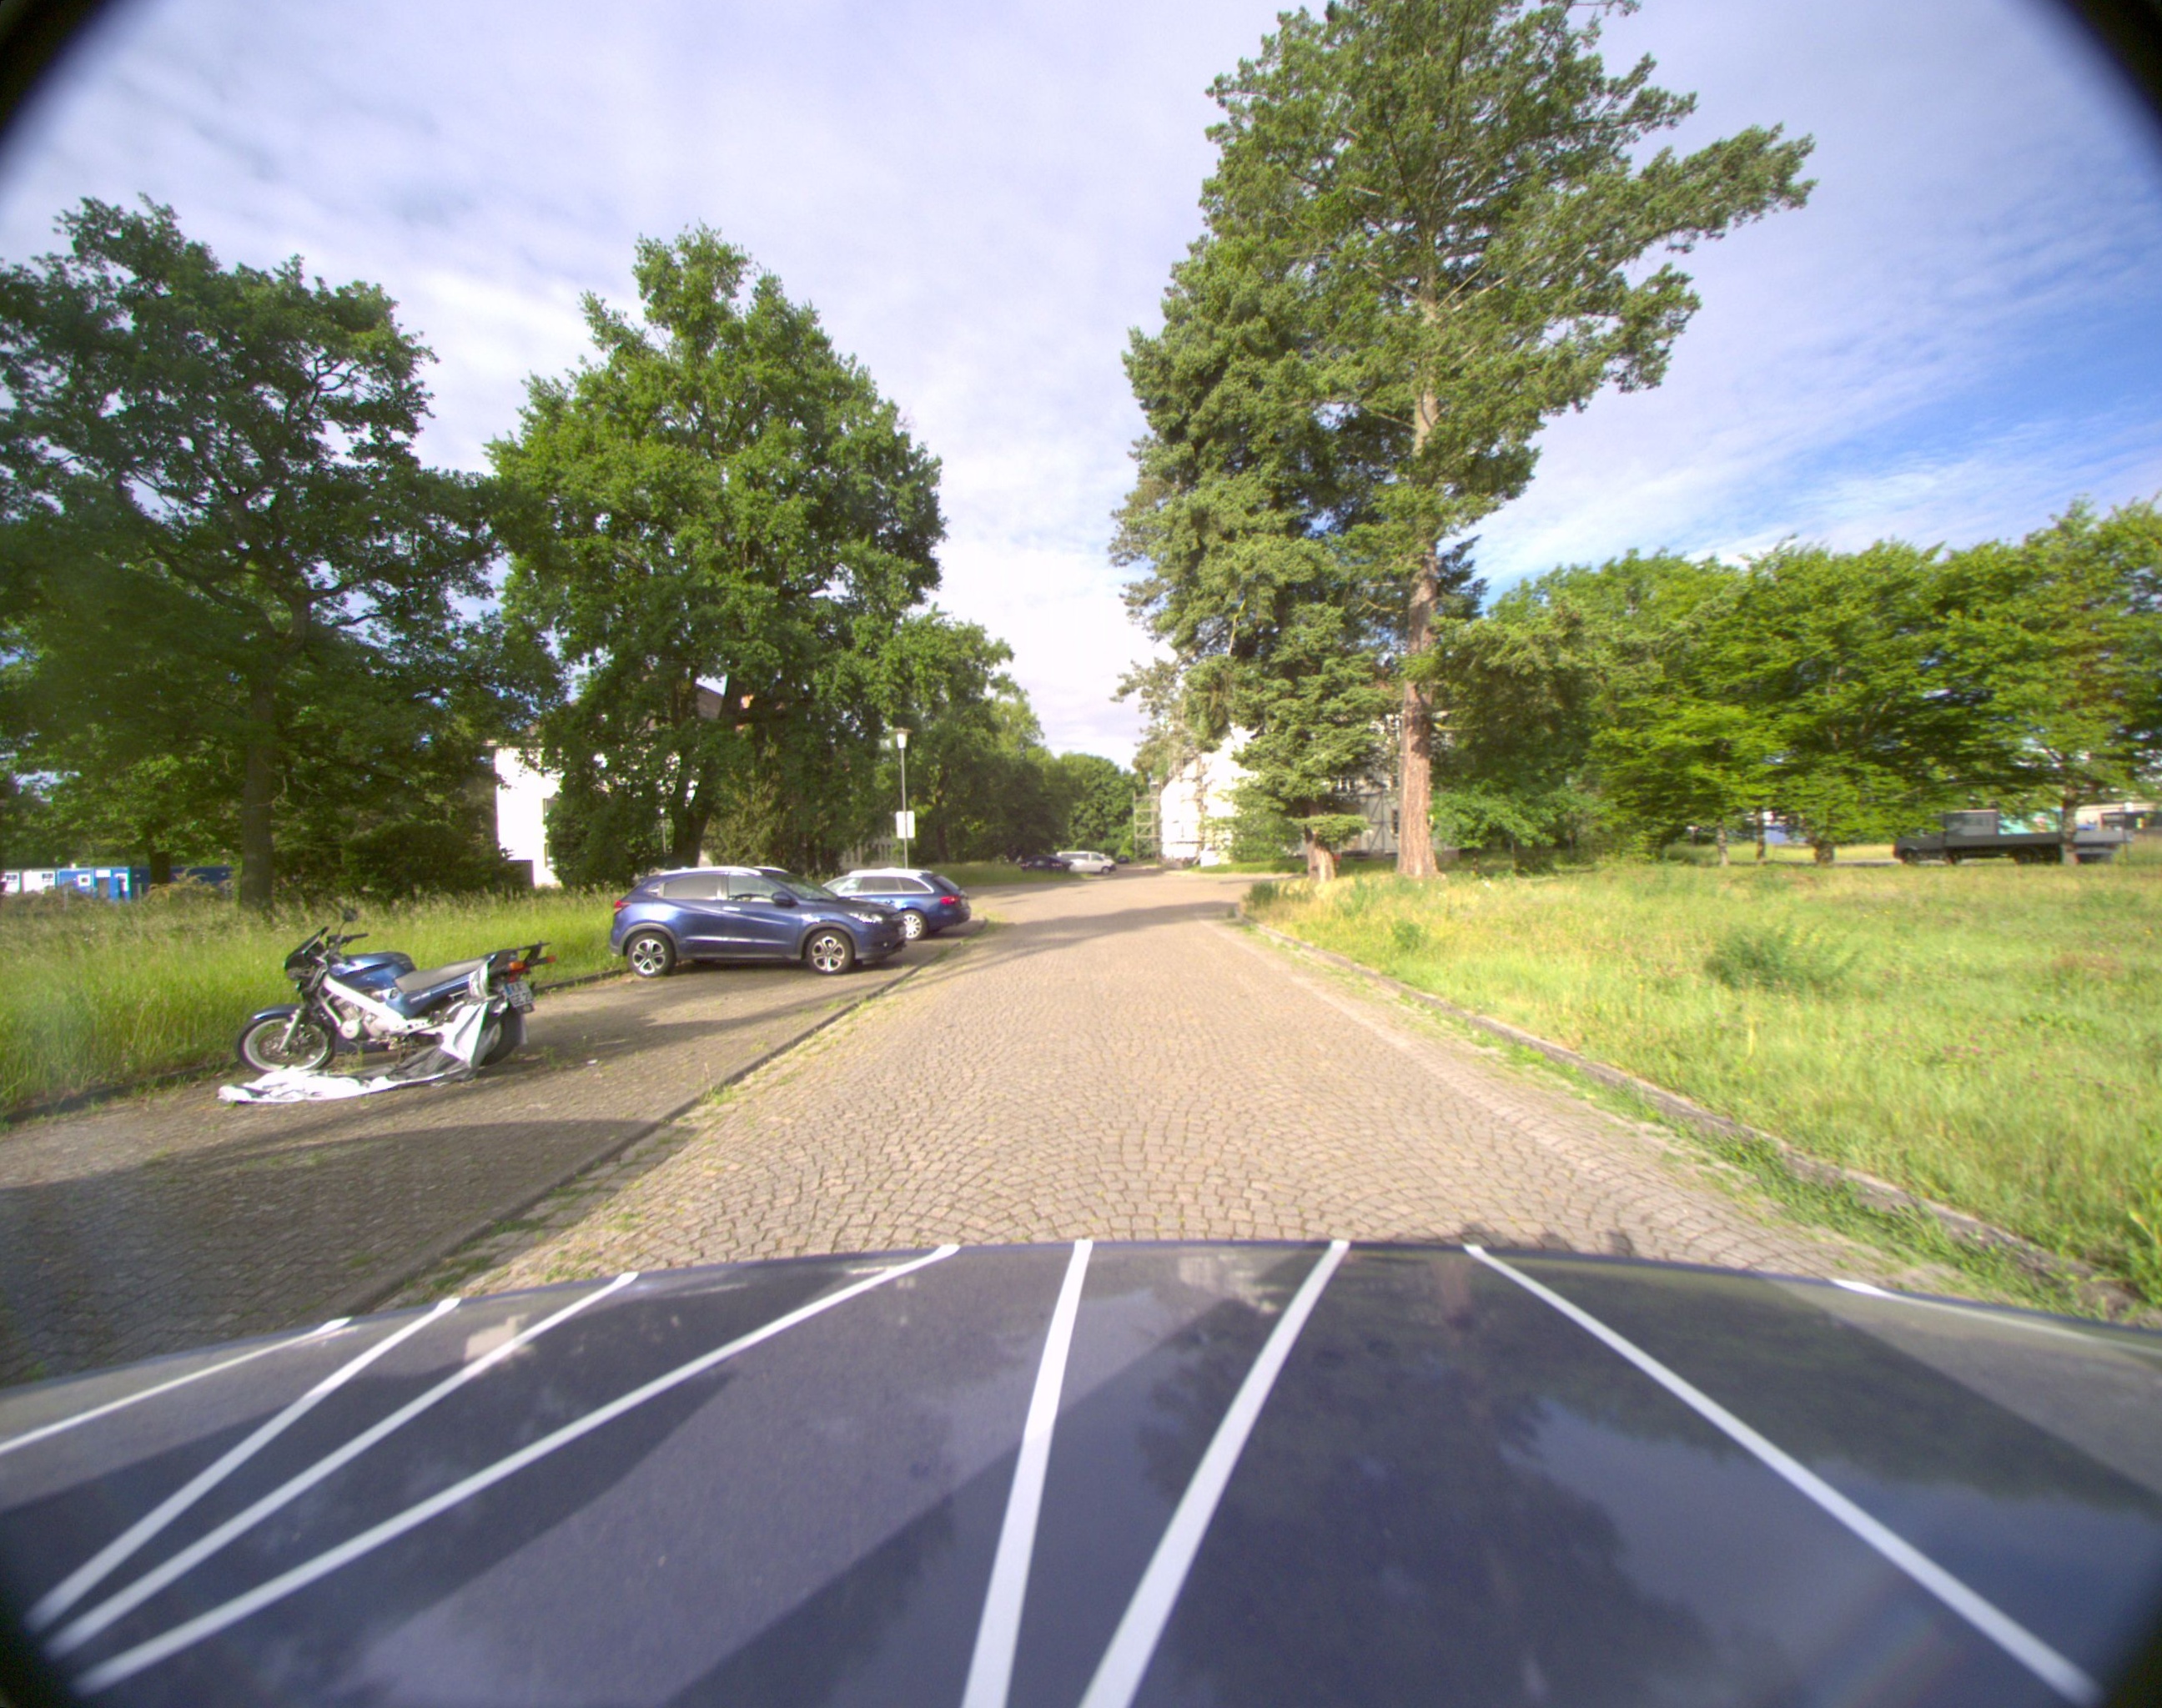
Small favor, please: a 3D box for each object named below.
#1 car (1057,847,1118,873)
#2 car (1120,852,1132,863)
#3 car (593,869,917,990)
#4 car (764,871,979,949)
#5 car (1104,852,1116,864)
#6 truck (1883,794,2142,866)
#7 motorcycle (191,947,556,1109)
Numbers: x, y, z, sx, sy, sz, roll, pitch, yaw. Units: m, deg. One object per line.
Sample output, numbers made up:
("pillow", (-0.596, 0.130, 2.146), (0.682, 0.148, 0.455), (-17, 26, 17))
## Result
("car", (0.580, 0.517, 65.159), (5.078, 2.029, 2.000), (-2, 0, 1))
("car", (7.765, 0.604, 131.332), (1.998, 1.762, 4.108), (-2, 1, 2))
("car", (-4.802, 1.083, 11.621), (4.135, 1.560, 1.746), (-1, 1, 1))
("car", (-4.384, 1.160, 16.312), (4.035, 1.442, 1.783), (-1, 1, 4))
("car", (5.031, 0.652, 131.177), (1.874, 1.888, 4.000), (-2, 1, 2))
("truck", (37.879, -0.880, 31.381), (2.417, 2.572, 6.960), (-2, 0, 4))
("motorcycle", (-5.439, 1.329, 5.904), (2.307, 1.107, 0.607), (-1, 1, 3))
